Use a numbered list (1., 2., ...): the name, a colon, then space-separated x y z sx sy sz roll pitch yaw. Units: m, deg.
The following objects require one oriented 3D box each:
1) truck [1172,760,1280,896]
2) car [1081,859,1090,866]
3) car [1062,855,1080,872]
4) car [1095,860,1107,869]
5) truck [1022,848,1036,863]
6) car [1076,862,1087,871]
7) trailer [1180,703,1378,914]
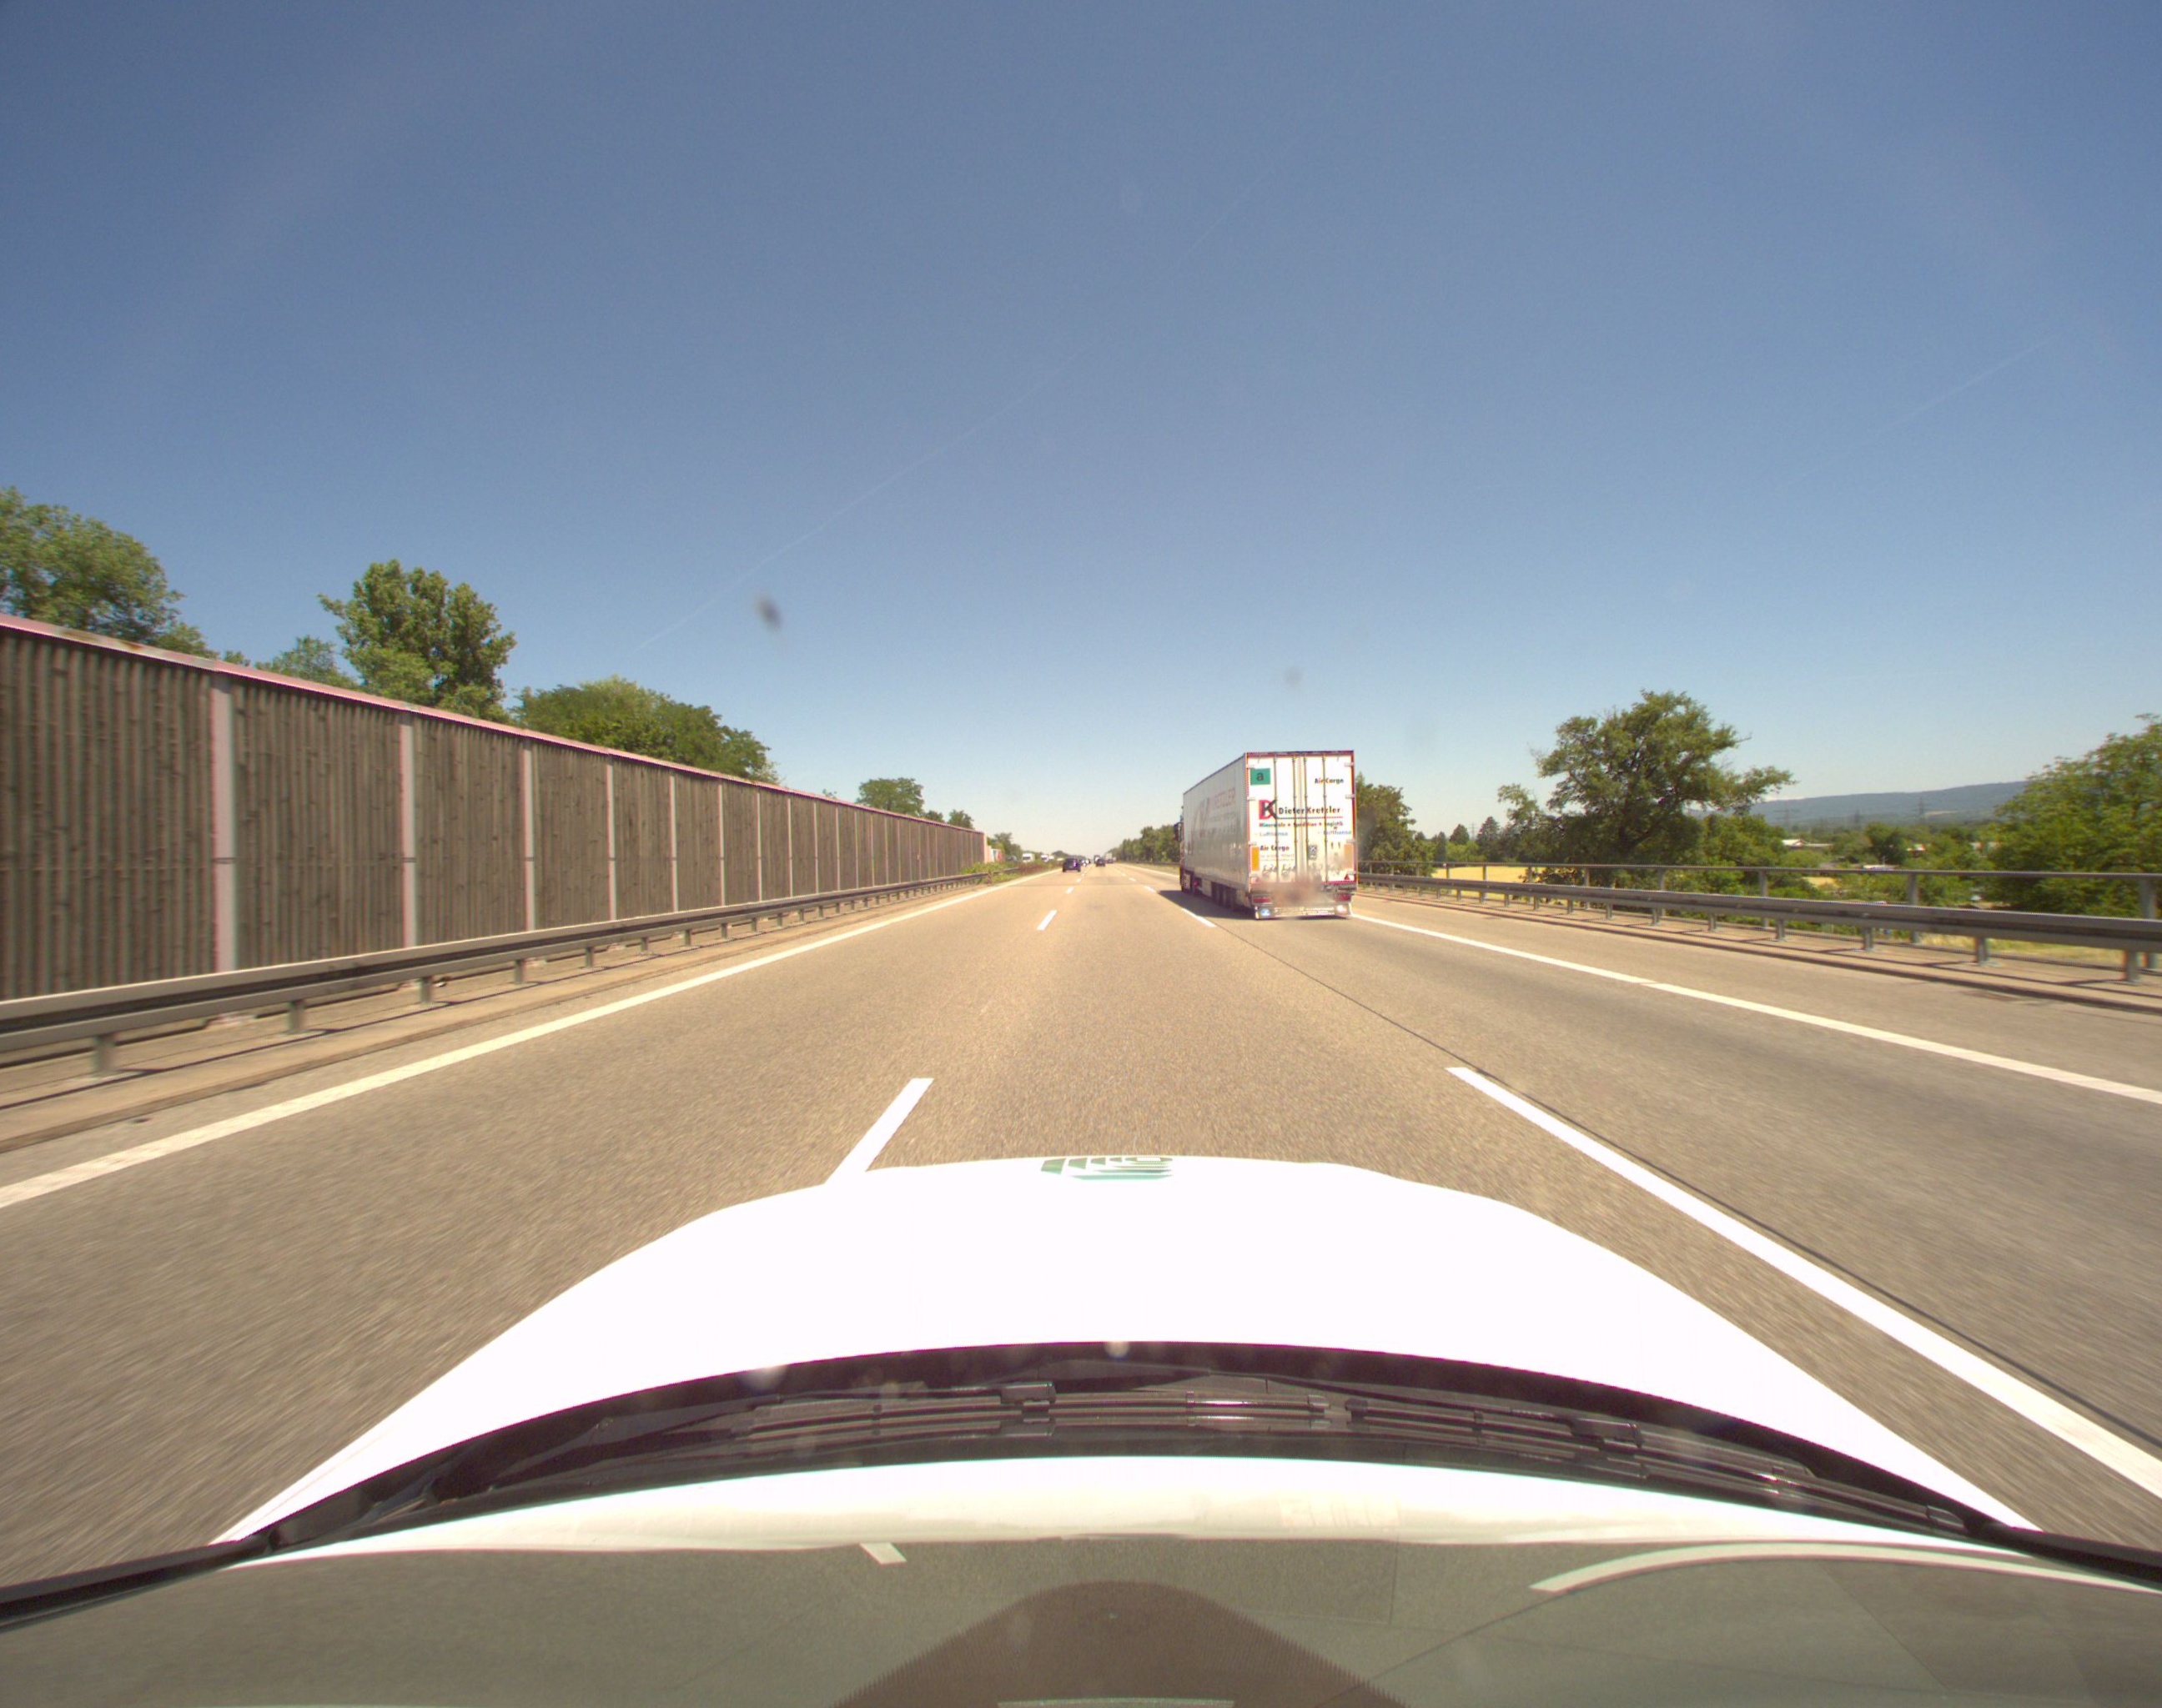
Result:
1. truck: 5.618 -0.948 32.820 3.222 4.889 6.974 -1 0 2
2. car: 1.197 2.286 220.558 2.121 1.645 4.305 -2 -1 1
3. car: -1.110 1.070 90.510 1.874 1.792 3.999 -1 0 0
4. car: 3.545 1.821 143.712 1.896 1.584 4.305 -2 -1 1
5. truck: -15.600 0.432 245.019 3.569 4.103 7.840 -2 0 1
6. car: 0.107 2.499 160.386 2.121 1.645 4.305 -2 -1 1
7. trailer: 5.445 -1.079 25.916 3.257 4.837 14.034 -1 0 2
